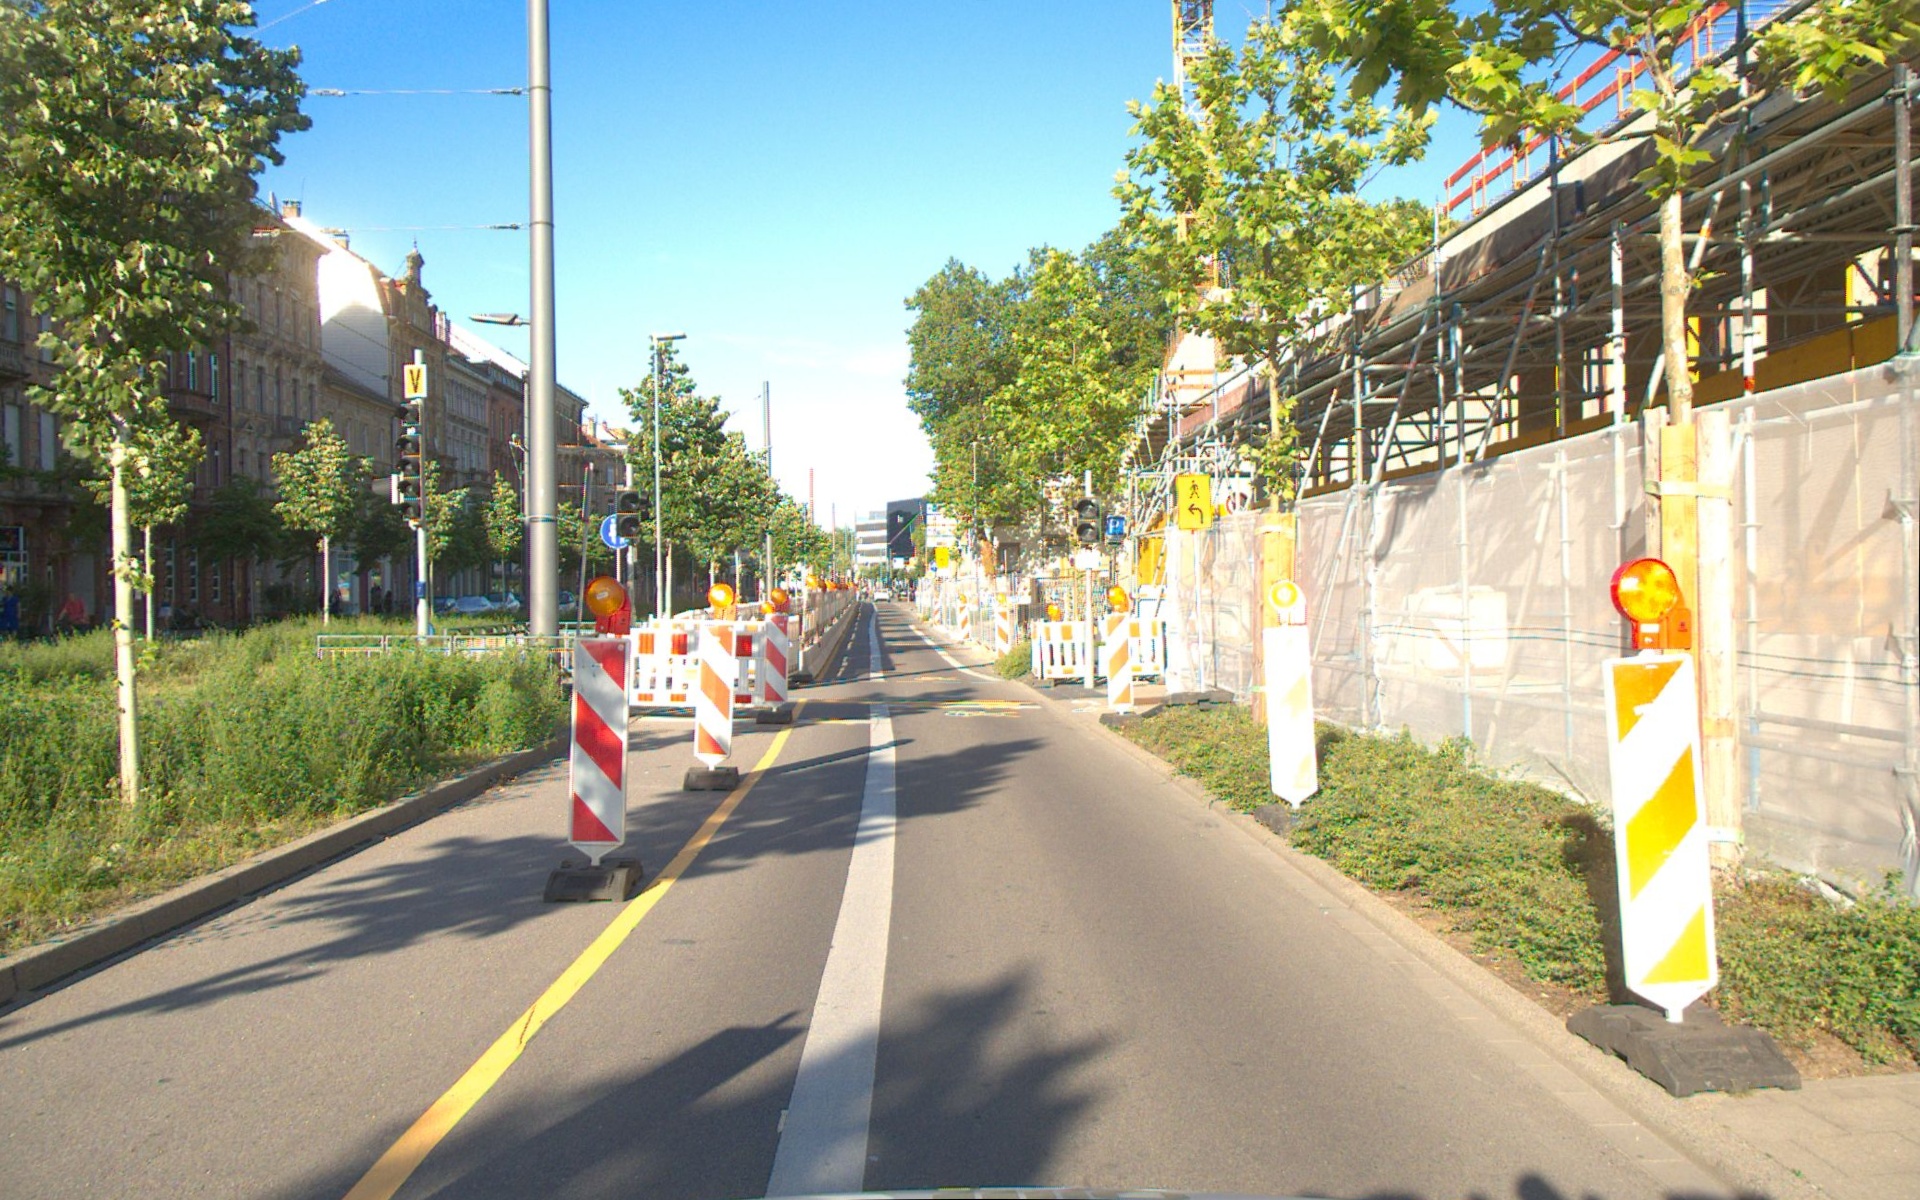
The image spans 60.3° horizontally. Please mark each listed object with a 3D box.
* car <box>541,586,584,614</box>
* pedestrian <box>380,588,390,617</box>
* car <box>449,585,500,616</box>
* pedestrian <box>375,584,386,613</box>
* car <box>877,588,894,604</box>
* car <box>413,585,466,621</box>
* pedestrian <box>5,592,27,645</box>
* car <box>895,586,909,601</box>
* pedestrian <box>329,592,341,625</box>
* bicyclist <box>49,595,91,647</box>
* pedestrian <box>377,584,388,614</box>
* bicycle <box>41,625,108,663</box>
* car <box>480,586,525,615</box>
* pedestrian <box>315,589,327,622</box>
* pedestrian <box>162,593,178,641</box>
[{"bbox_3d":[-21.778,-0.028,90.736,1.562,1.509,3.622,-1,0,-1],"label":"car"},{"bbox_3d":[-31.862,0.146,91.622,0.452,1.612,0.434,1,0,-10],"label":"pedestrian"},{"bbox_3d":[-25.909,-0.002,88.419,1.535,1.590,4.712,-1,1,-3],"label":"car"},{"bbox_3d":[-30.740,-0.075,87.767,0.397,1.561,0.435,1,0,-3],"label":"pedestrian"},{"bbox_3d":[-8.734,-0.474,193.529,1.845,1.875,3.665,-1,1,-3],"label":"car"},{"bbox_3d":[-25.548,0.112,81.231,1.535,1.704,3.807,-1,1,-3],"label":"car"},{"bbox_3d":[-28.853,0.573,50.542,0.395,1.612,0.425,1,0,-3],"label":"pedestrian"},{"bbox_3d":[-7.830,-0.891,224.222,1.845,1.875,3.665,-1,1,-3],"label":"car"},{"bbox_3d":[-30.494,0.398,80.742,0.420,1.612,0.339,1,0,-2],"label":"pedestrian"},{"bbox_3d":[-22.237,0.521,41.333,0.624,1.261,0.738,-1,0,-2],"label":"bicyclist"},{"bbox_3d":[-30.643,-0.049,87.739,0.397,1.559,0.435,1,0,-3],"label":"pedestrian"},{"bbox_3d":[-22.260,1.098,41.627,0.624,0.872,2.030,-1,0,-2],"label":"bicycle"},{"bbox_3d":[-26.193,0.007,94.815,1.535,1.590,4.711,-1,1,-3],"label":"car"},{"bbox_3d":[-31.217,0.255,80.763,0.425,1.612,0.385,1,0,-6],"label":"pedestrian"},{"bbox_3d":[-29.294,0.628,61.321,0.359,1.795,0.406,1,0,-3],"label":"pedestrian"}]
